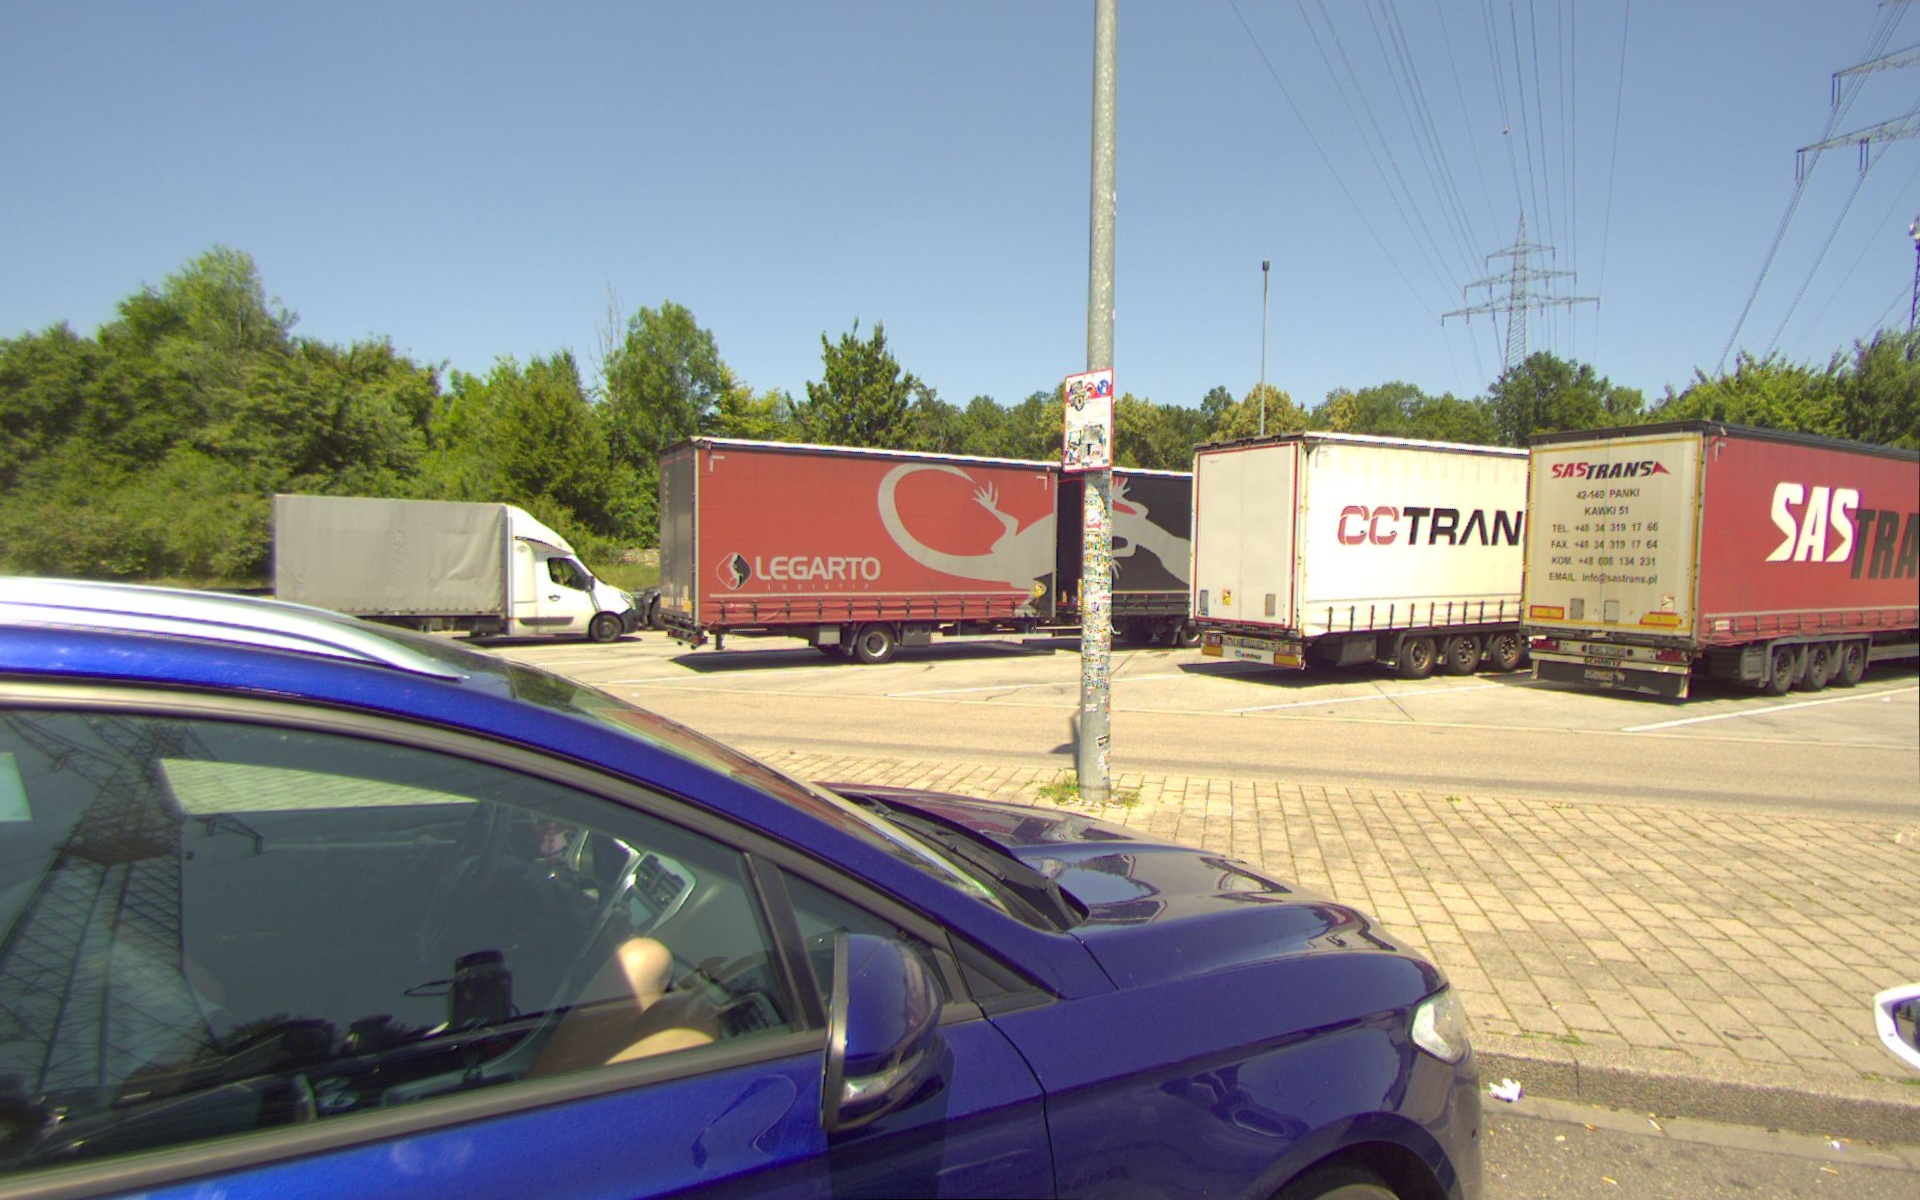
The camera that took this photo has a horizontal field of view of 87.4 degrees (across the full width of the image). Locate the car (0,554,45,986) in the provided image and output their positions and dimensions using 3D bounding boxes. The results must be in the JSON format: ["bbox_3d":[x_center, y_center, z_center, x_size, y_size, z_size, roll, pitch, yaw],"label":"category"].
[{"bbox_3d":[-4.615,0.555,2.123,3.700,1.432,1.595,0,0,-32],"label":"car"}]

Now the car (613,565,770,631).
[{"bbox_3d":[-7.609,-0.046,28.523,3.953,1.773,1.902,0,0,-30],"label":"car"}]

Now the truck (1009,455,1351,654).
[{"bbox_3d":[5.598,-1.077,24.836,8.683,4.248,2.800,-1,2,-30],"label":"truck"}]

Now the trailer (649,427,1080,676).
[{"bbox_3d":[-1.747,-0.928,20.512,8.389,4.248,2.800,-1,2,-30],"label":"trailer"}]

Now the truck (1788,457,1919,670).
[{"bbox_3d":[21.138,-0.772,21.874,6.163,4.169,2.683,-1,3,-30],"label":"truck"}]

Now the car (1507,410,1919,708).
[{"bbox_3d":[15.213,-0.692,18.462,12.777,4.169,2.683,-1,3,-30],"label":"car"}]

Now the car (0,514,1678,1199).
[{"bbox_3d":[-0.989,0.670,1.472,4.380,1.464,1.771,0,0,-32],"label":"car"}]

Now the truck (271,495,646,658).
[{"bbox_3d":[-11.119,-0.585,22.881,7.219,3.277,2.308,-2,3,-29],"label":"truck"}]

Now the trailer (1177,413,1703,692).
[{"bbox_3d":[10.107,-0.881,20.075,12.786,4.325,2.800,-1,2,-31],"label":"trailer"}]

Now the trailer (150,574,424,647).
[{"bbox_3d":[-15.954,0.242,24.187,5.332,1.617,1.585,0,0,-30],"label":"trailer"}]
